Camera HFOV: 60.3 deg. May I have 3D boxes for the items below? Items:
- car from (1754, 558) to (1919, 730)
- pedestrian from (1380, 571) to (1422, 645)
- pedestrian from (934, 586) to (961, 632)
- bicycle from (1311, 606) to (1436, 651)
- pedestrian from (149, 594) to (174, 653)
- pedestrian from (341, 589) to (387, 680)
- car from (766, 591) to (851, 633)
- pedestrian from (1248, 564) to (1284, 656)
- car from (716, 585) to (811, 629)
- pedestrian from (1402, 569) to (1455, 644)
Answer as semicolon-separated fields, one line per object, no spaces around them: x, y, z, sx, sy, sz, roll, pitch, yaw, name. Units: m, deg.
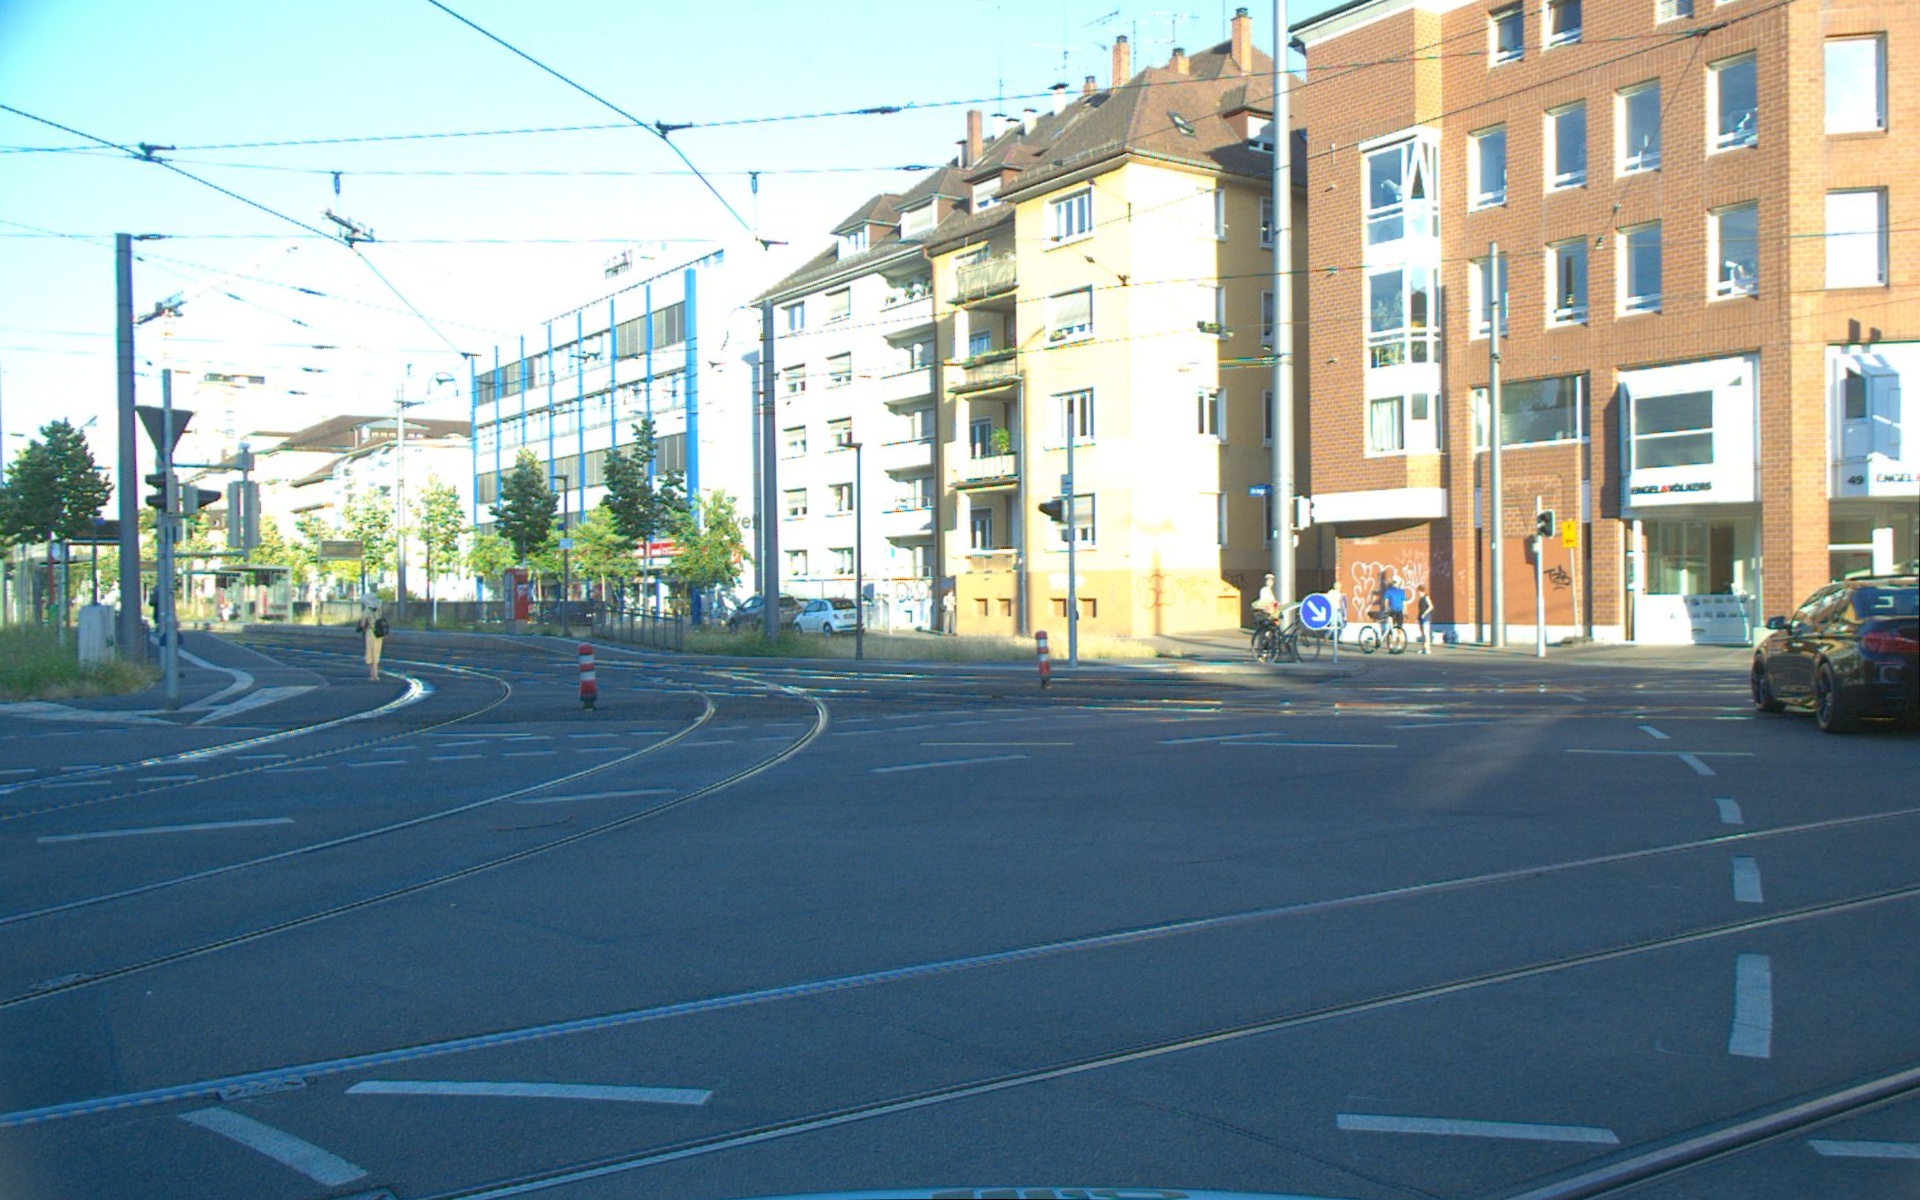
9.404;0.353;16.728;1.802;1.521;4.295;-2;0;17;car
10.881;0.192;40.821;0.808;1.809;0.629;-1;0;-42;pedestrian
-0.447;0.316;59.543;0.700;1.626;0.729;-1;0;-24;pedestrian
10.076;0.677;40.432;0.923;1.035;3.019;-1;0;-40;bicycle
-22.297;0.641;46.172;0.558;1.618;0.683;-1;0;-31;pedestrian
-10.507;0.599;29.187;0.694;1.568;0.633;-1;0;-18;pedestrian
-5.933;0.486;64.506;1.720;1.445;3.497;-1;-2;-36;car
5.829;0.188;31.499;0.414;1.738;0.509;-1;0;-34;pedestrian
-8.246;0.282;69.141;2.096;1.734;4.294;-1;0;-36;car
11.409;0.156;40.277;0.909;1.809;0.860;-1;0;-40;pedestrian
